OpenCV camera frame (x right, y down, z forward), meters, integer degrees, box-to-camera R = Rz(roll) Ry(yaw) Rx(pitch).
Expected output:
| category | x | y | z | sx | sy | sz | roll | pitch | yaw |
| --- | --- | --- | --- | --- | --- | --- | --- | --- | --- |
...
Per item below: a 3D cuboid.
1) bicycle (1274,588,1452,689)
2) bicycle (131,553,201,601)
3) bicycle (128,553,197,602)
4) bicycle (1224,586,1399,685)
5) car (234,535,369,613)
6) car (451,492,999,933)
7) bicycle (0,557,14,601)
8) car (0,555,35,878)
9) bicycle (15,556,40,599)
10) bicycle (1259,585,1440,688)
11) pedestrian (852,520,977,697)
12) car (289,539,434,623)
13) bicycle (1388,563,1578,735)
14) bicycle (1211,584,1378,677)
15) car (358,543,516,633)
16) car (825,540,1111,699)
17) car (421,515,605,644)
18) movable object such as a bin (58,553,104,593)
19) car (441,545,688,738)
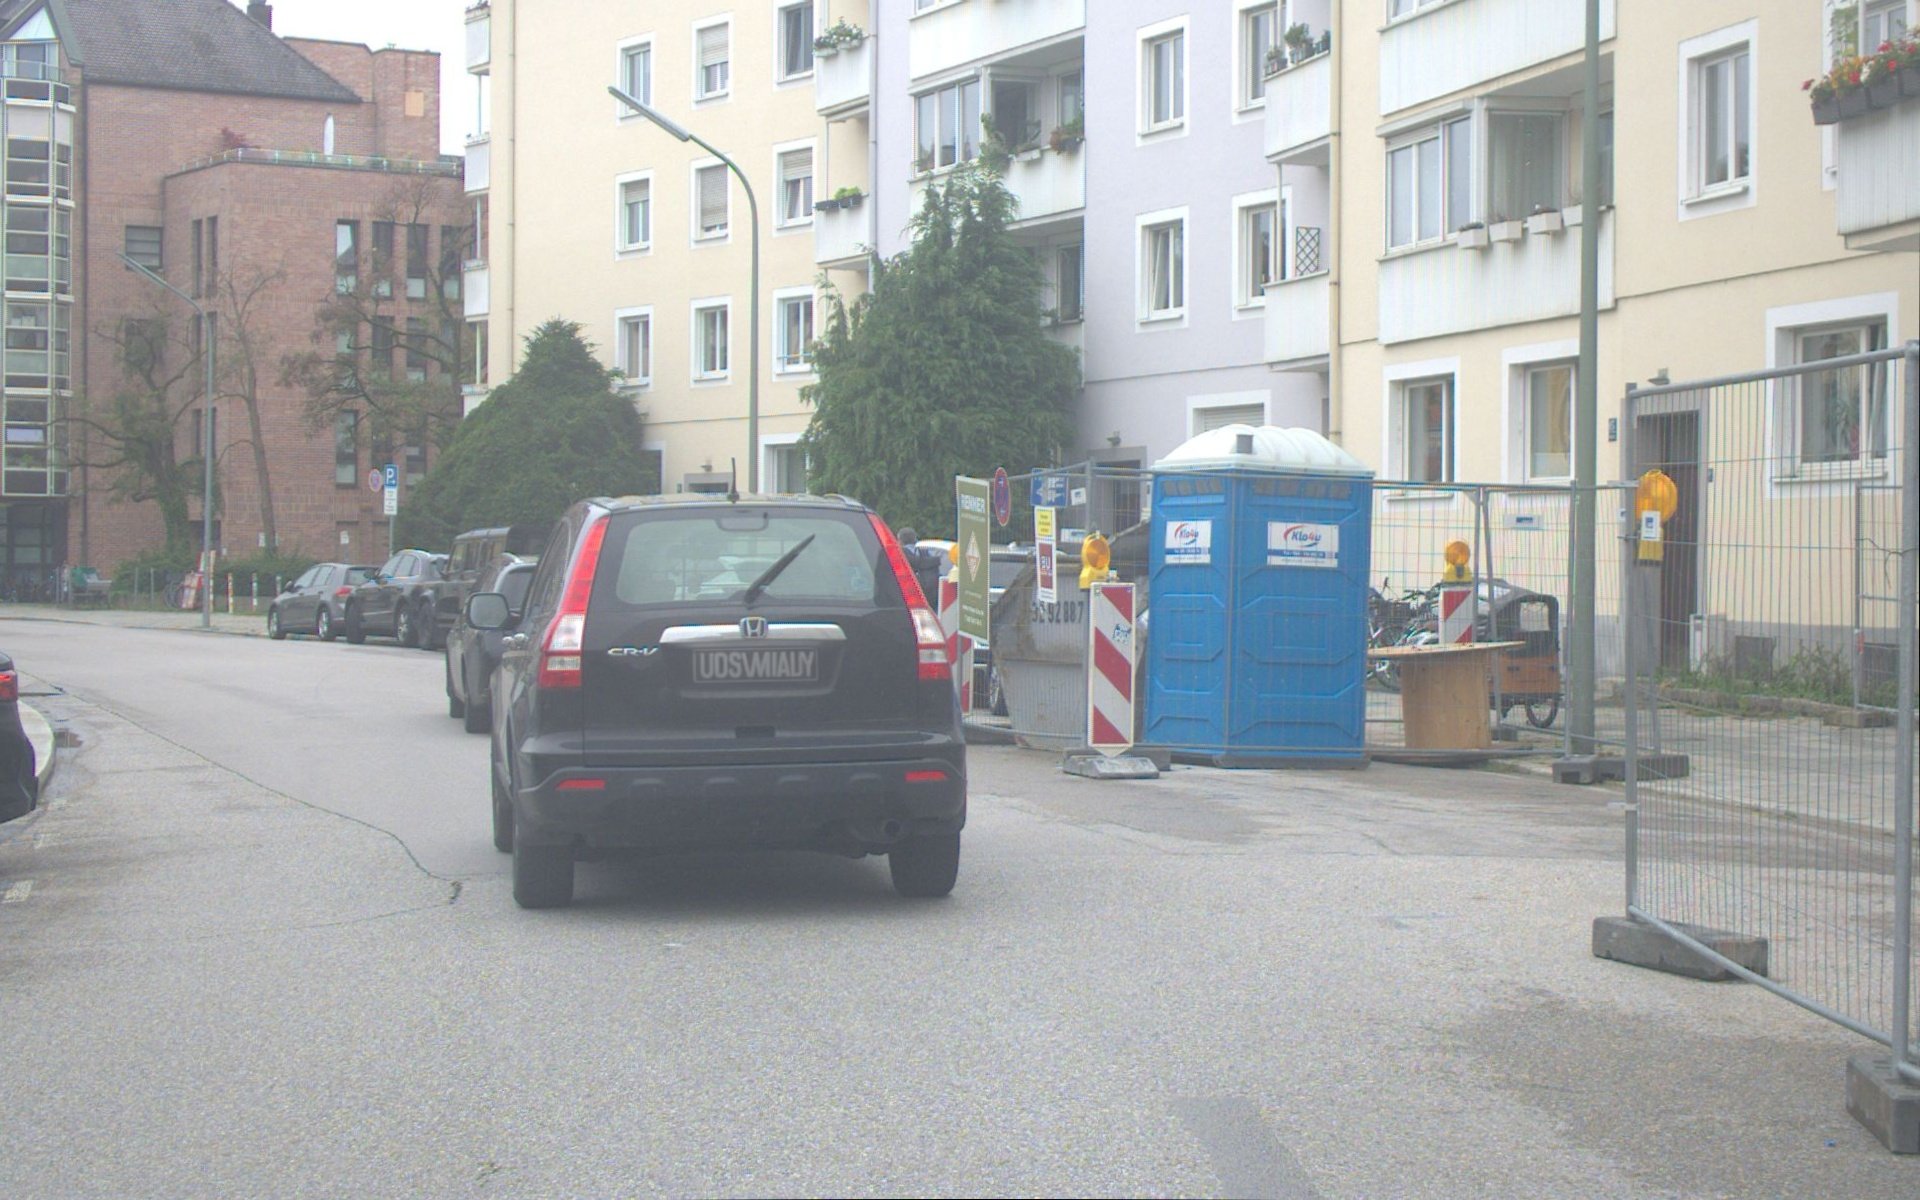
| category | x | y | z | sx | sy | sz | roll | pitch | yaw |
| --- | --- | --- | --- | --- | --- | --- | --- | --- | --- |
| bicycle | 4.495 | 0.426 | 38.373 | 1.865 | 1.087 | 0.566 | 1 | 1 | -12 |
| bicycle | -21.461 | -0.621 | 92.915 | 1.753 | 1.284 | 0.553 | 1 | 1 | -21 |
| bicycle | -21.697 | -0.609 | 93.541 | 1.753 | 1.284 | 0.553 | 1 | 1 | -21 |
| bicycle | 3.999 | 0.400 | 39.141 | 1.865 | 1.087 | 0.646 | 1 | 1 | -12 |
| car | -12.555 | -0.507 | 65.421 | 1.697 | 1.384 | 3.603 | 1 | 1 | -24 |
| car | -1.162 | 0.391 | 14.903 | 1.890 | 1.642 | 3.992 | 1 | 1 | -11 |
| bicycle | -28.854 | -0.636 | 103.457 | 0.551 | 1.284 | 1.760 | 1 | 1 | -20 |
| car | -6.374 | 0.517 | 15.193 | 4.074 | 1.476 | 1.684 | 0 | 1 | -39 |
| bicycle | -28.160 | -0.683 | 103.851 | 0.551 | 1.284 | 1.760 | 1 | 1 | -20 |
| bicycle | 4.240 | 0.400 | 37.452 | 1.865 | 1.087 | 0.566 | 1 | 1 | -12 |
| pedestrian | -0.443 | 0.075 | 33.495 | 0.924 | 1.697 | 0.753 | 0 | 1 | -39 |
| car | -10.748 | -0.350 | 61.578 | 1.697 | 1.384 | 3.603 | 1 | 1 | -24 |
| bicycle | 4.470 | 0.394 | 29.623 | 0.968 | 1.384 | 2.564 | 1 | 1 | -6 |
| bicycle | 4.004 | 0.365 | 41.195 | 1.865 | 1.087 | 0.646 | 1 | 1 | -12 |
| car | -8.792 | -0.224 | 57.591 | 1.697 | 1.384 | 3.603 | 1 | 1 | -24 |
| car | 0.018 | 0.162 | 35.291 | 1.724 | 1.478 | 4.001 | 1 | 1 | -18 |
| car | -6.989 | -0.348 | 53.471 | 1.724 | 1.871 | 4.001 | 1 | 1 | -24 |
| movable object such as a bin | -25.173 | -0.780 | 98.455 | 0.965 | 1.082 | 1.985 | 1 | 1 | -23 |
| car | -3.379 | 0.298 | 28.796 | 1.678 | 1.476 | 4.088 | 1 | 1 | -12 |
